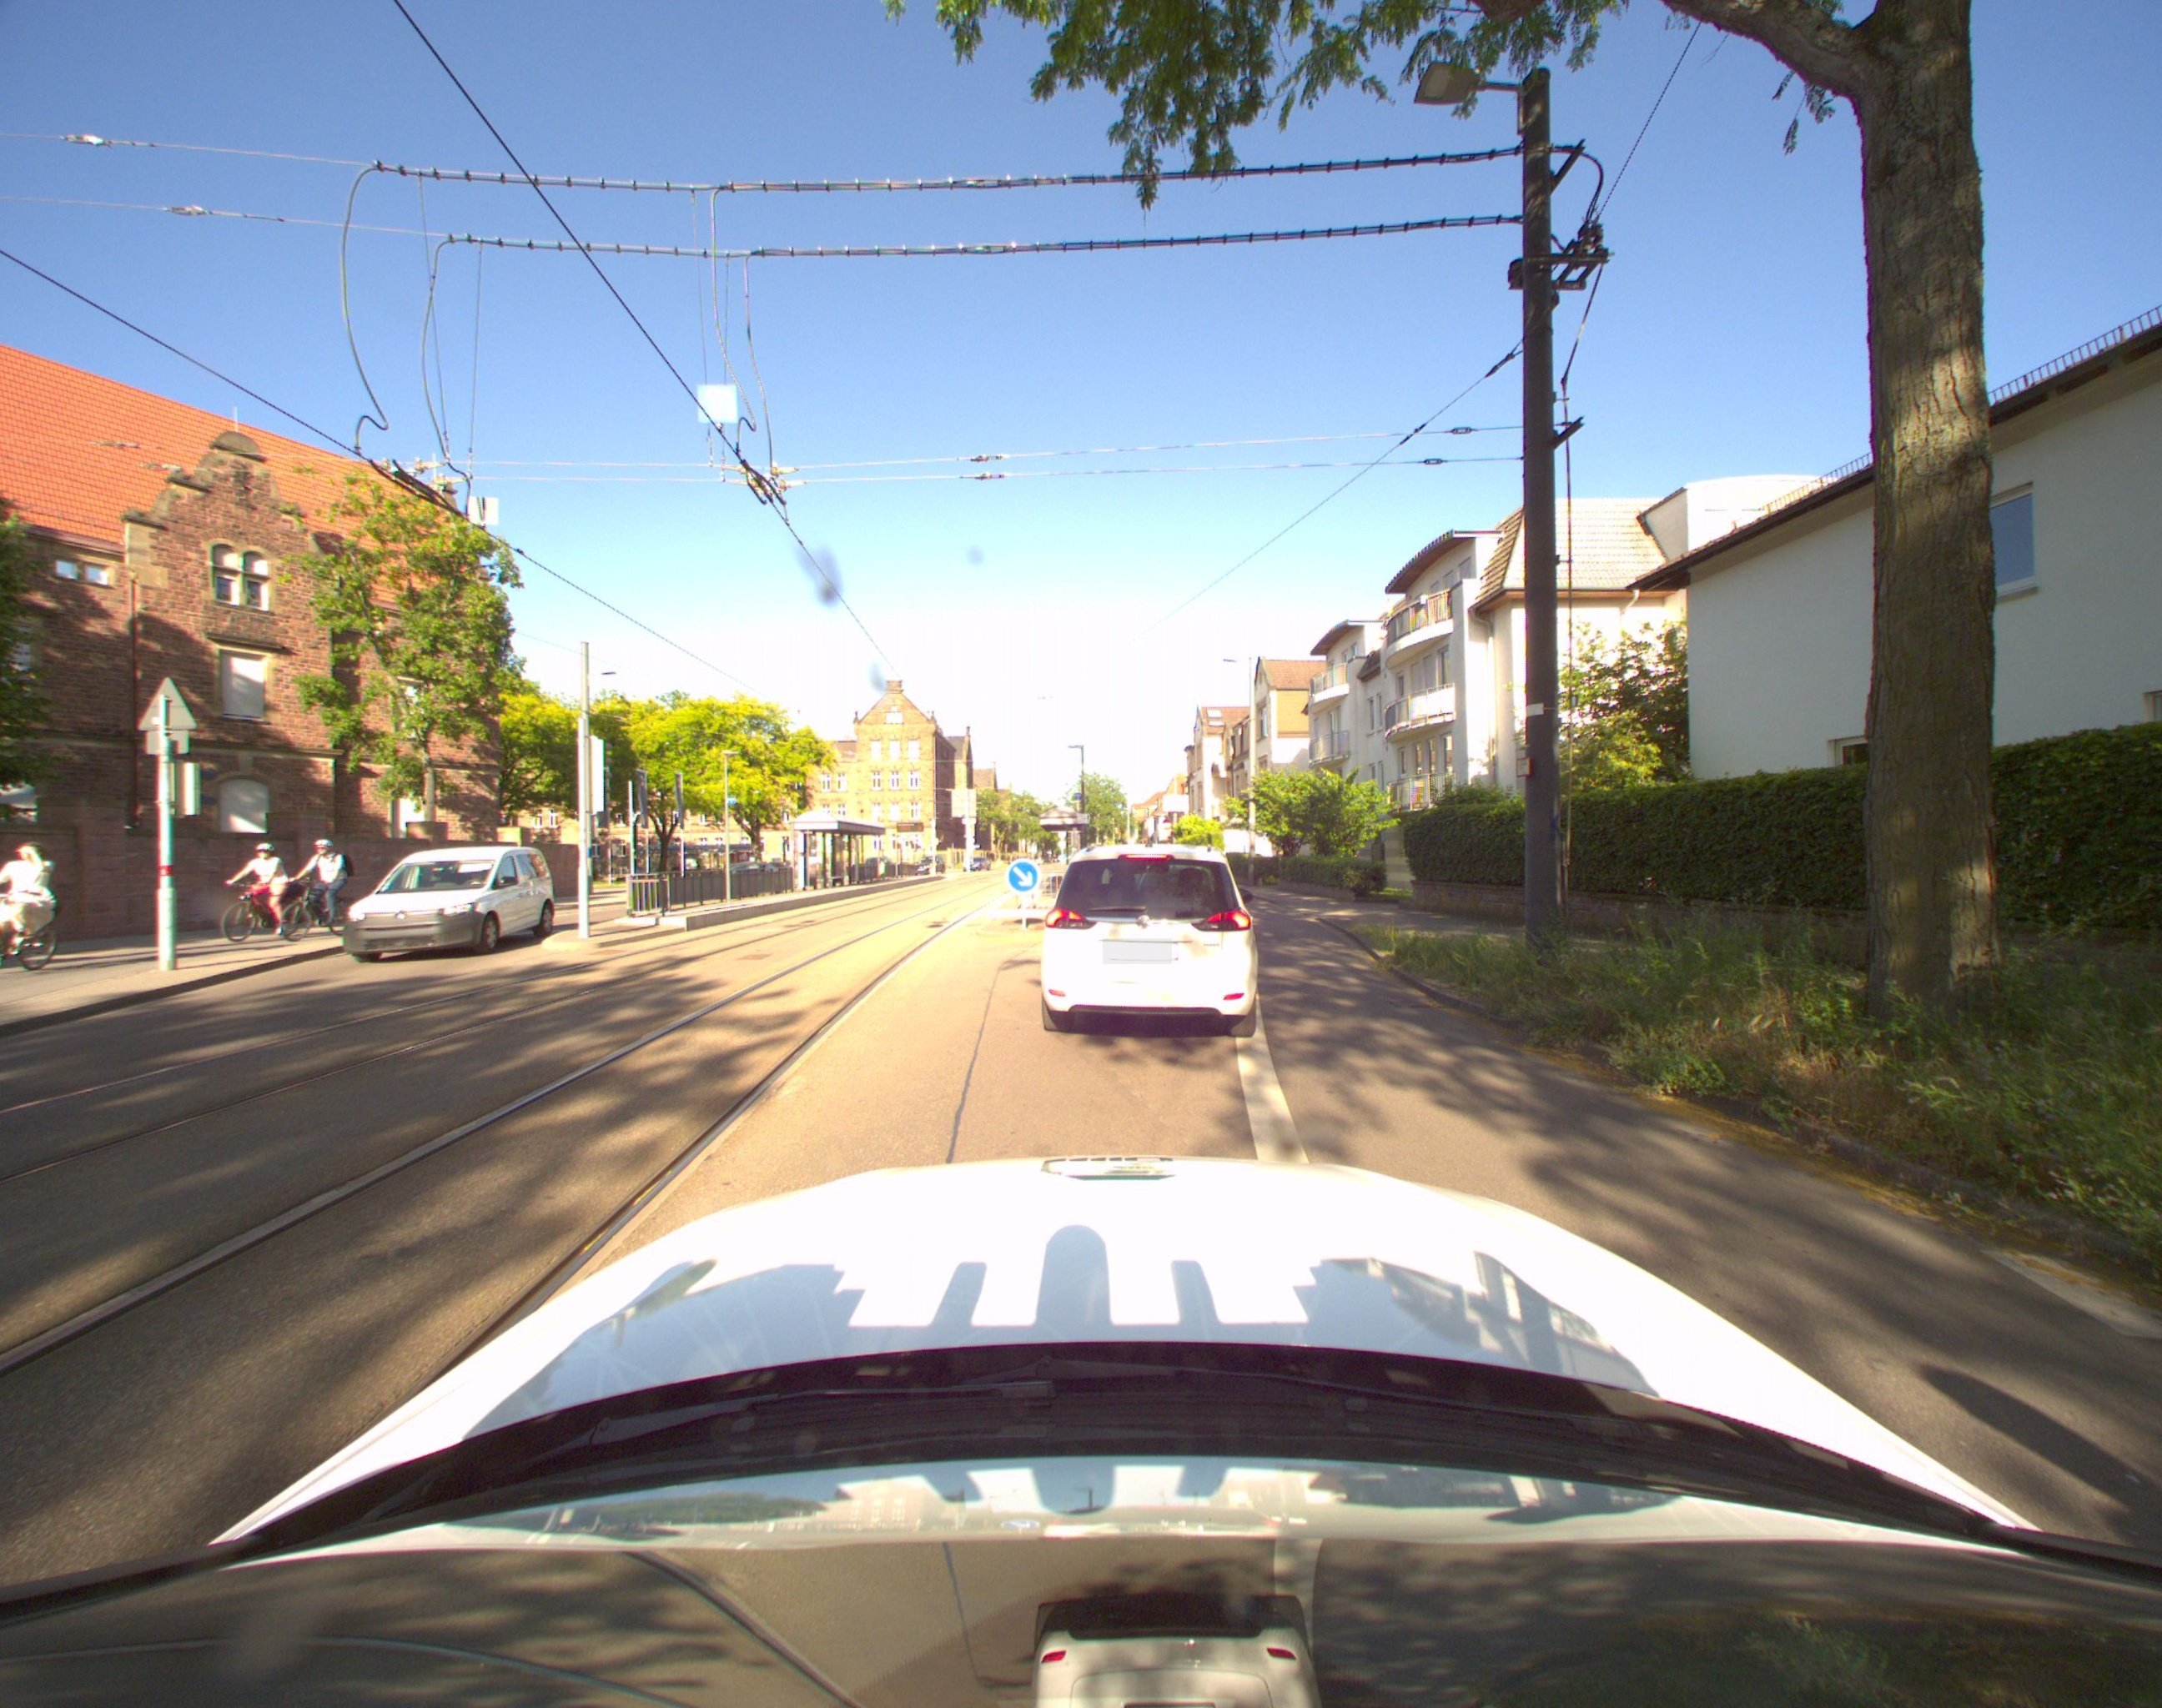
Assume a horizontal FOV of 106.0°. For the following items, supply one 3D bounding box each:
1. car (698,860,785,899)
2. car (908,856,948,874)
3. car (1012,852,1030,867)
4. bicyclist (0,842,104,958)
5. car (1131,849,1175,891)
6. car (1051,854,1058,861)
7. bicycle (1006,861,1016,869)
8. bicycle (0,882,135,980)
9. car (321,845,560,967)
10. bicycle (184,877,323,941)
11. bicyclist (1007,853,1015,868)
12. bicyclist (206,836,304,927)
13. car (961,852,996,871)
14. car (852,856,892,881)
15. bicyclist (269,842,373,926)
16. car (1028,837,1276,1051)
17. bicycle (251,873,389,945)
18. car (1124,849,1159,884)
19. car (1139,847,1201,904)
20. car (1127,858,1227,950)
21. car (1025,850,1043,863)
[{"bbox_3d":[-13.905,0.996,33.650,1.793,1.382,4.492,-3,0,-2],"label":"car"},{"bbox_3d":[-13.240,0.973,70.610,1.814,1.446,4.342,-1,-1,12],"label":"car"},{"bbox_3d":[-8.285,0.738,112.729,1.985,2.014,4.003,0,-1,3],"label":"car"},{"bbox_3d":[-14.095,0.589,10.840,0.755,1.471,1.188,0,-1,-5],"label":"bicyclist"},{"bbox_3d":[2.947,0.629,33.989,1.590,1.635,3.903,1,0,2],"label":"car"},{"bbox_3d":[-8.093,1.106,250.446,1.989,2.014,3.994,0,-1,-4],"label":"car"},{"bbox_3d":[-8.254,1.319,96.417,0.721,0.965,2.065,0,1,8],"label":"bicycle"},{"bbox_3d":[-14.090,0.997,10.827,0.814,1.198,1.949,0,0,-5],"label":"bicycle"},{"bbox_3d":[-10.982,0.769,14.393,1.831,1.788,4.231,-1,0,-16],"label":"car"},{"bbox_3d":[-15.795,1.010,15.622,0.667,1.072,2.013,0,0,-3],"label":"bicycle"},{"bbox_3d":[-8.263,0.781,96.414,0.721,1.688,1.172,0,0,8],"label":"bicyclist"},{"bbox_3d":[-15.806,0.496,15.626,0.649,1.674,1.232,0,0,-3],"label":"bicyclist"},{"bbox_3d":[-10.344,0.779,82.365,1.812,1.788,4.347,-1,-1,18],"label":"car"},{"bbox_3d":[-14.162,1.009,55.328,1.823,1.617,4.322,-1,-1,-3],"label":"car"},{"bbox_3d":[-14.645,0.546,15.746,0.759,1.536,1.346,-1,0,-3],"label":"bicyclist"},{"bbox_3d":[0.785,0.666,8.190,1.868,1.585,4.008,1,0,7],"label":"car"},{"bbox_3d":[-14.624,1.021,15.745,0.775,1.231,2.086,-1,0,-3],"label":"bicycle"},{"bbox_3d":[2.968,0.567,40.489,1.590,1.635,3.903,1,1,2],"label":"car"},{"bbox_3d":[2.662,0.608,25.024,1.564,1.614,3.784,1,0,1],"label":"car"},{"bbox_3d":[1.770,0.801,14.868,1.560,1.401,3.792,1,0,7],"label":"car"},{"bbox_3d":[-7.300,0.420,127.169,1.982,2.014,4.009,-1,-1,8],"label":"car"}]
